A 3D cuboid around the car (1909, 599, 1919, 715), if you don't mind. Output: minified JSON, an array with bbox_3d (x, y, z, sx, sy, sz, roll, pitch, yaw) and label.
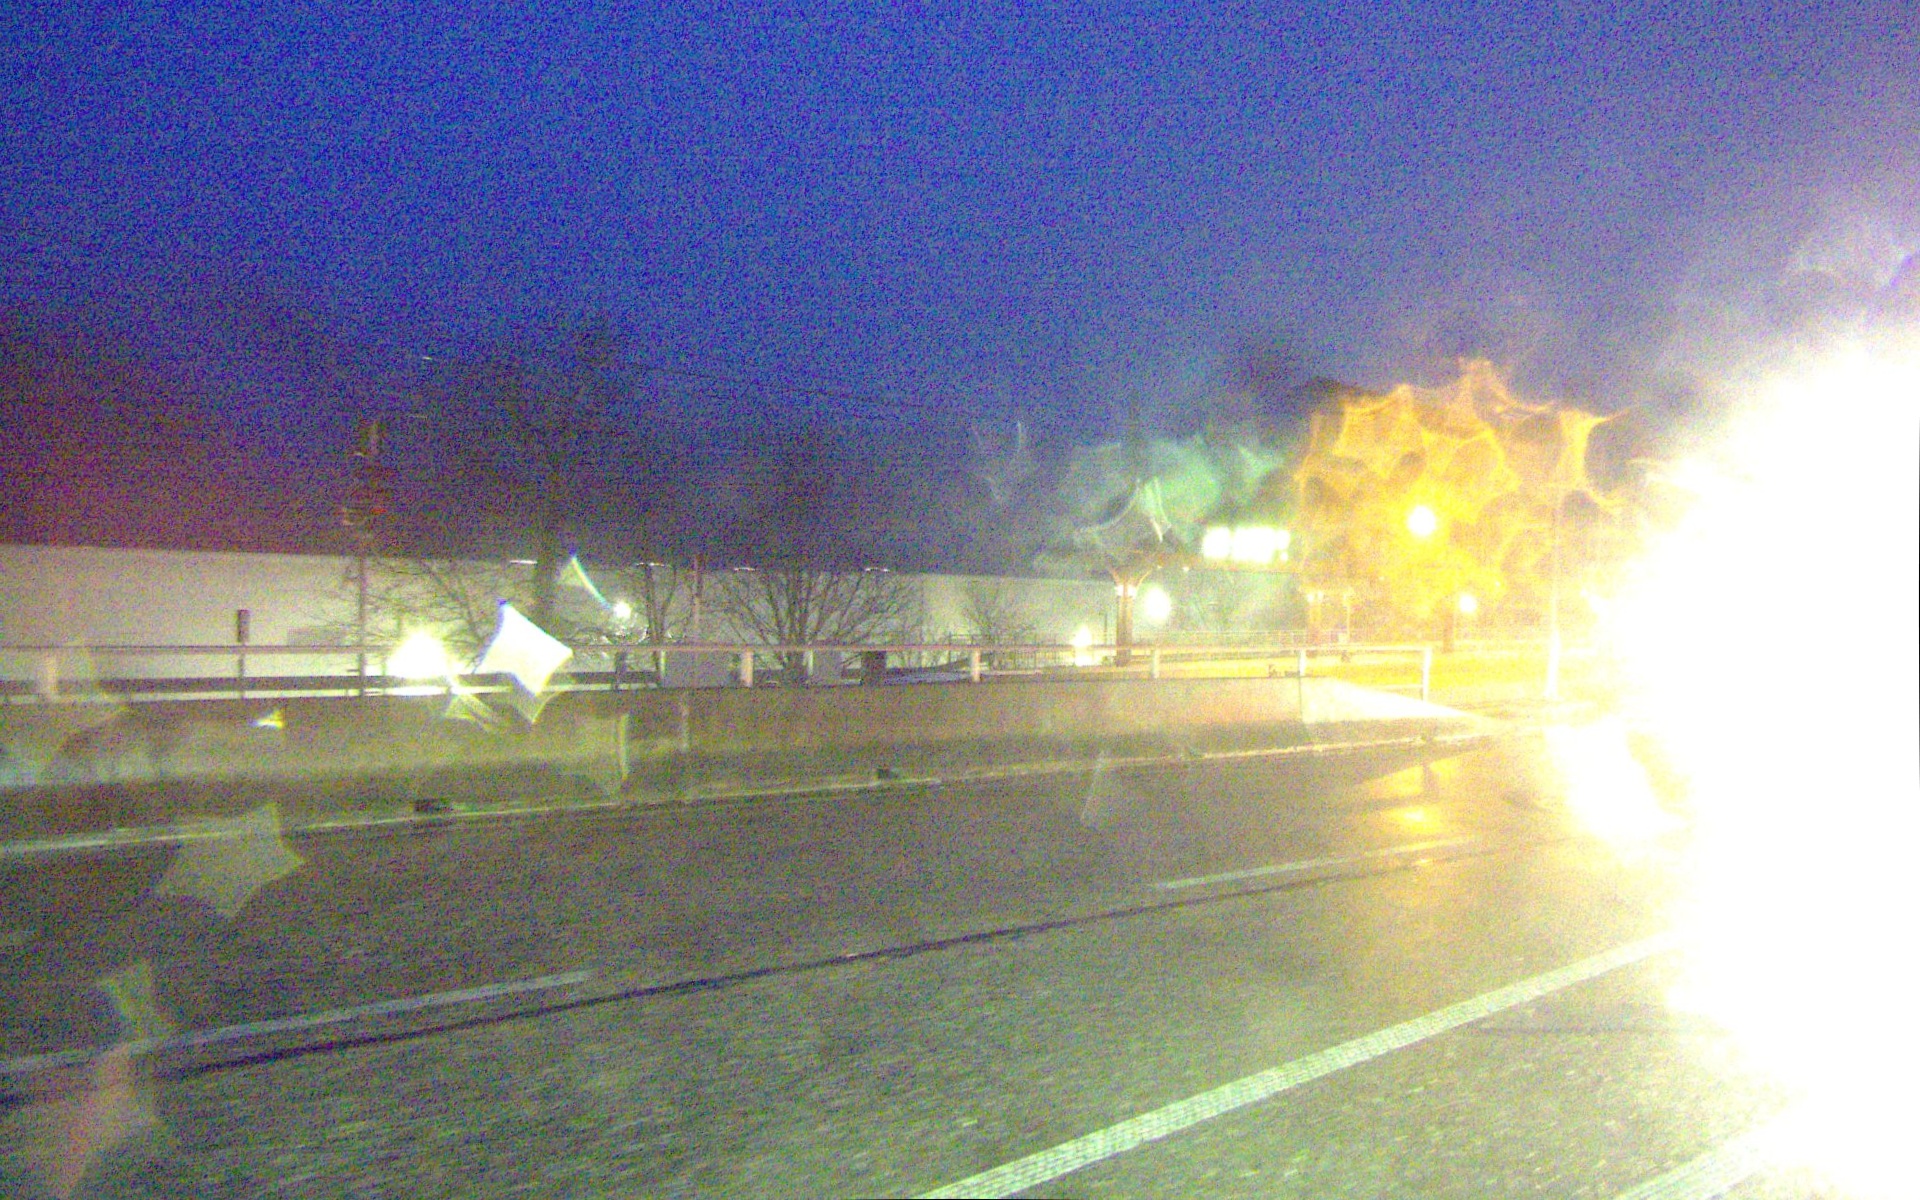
[{"bbox_3d":[18.393,0.986,17.247,4.691,1.937,1.982,1,-1,-33],"label":"car"}]
